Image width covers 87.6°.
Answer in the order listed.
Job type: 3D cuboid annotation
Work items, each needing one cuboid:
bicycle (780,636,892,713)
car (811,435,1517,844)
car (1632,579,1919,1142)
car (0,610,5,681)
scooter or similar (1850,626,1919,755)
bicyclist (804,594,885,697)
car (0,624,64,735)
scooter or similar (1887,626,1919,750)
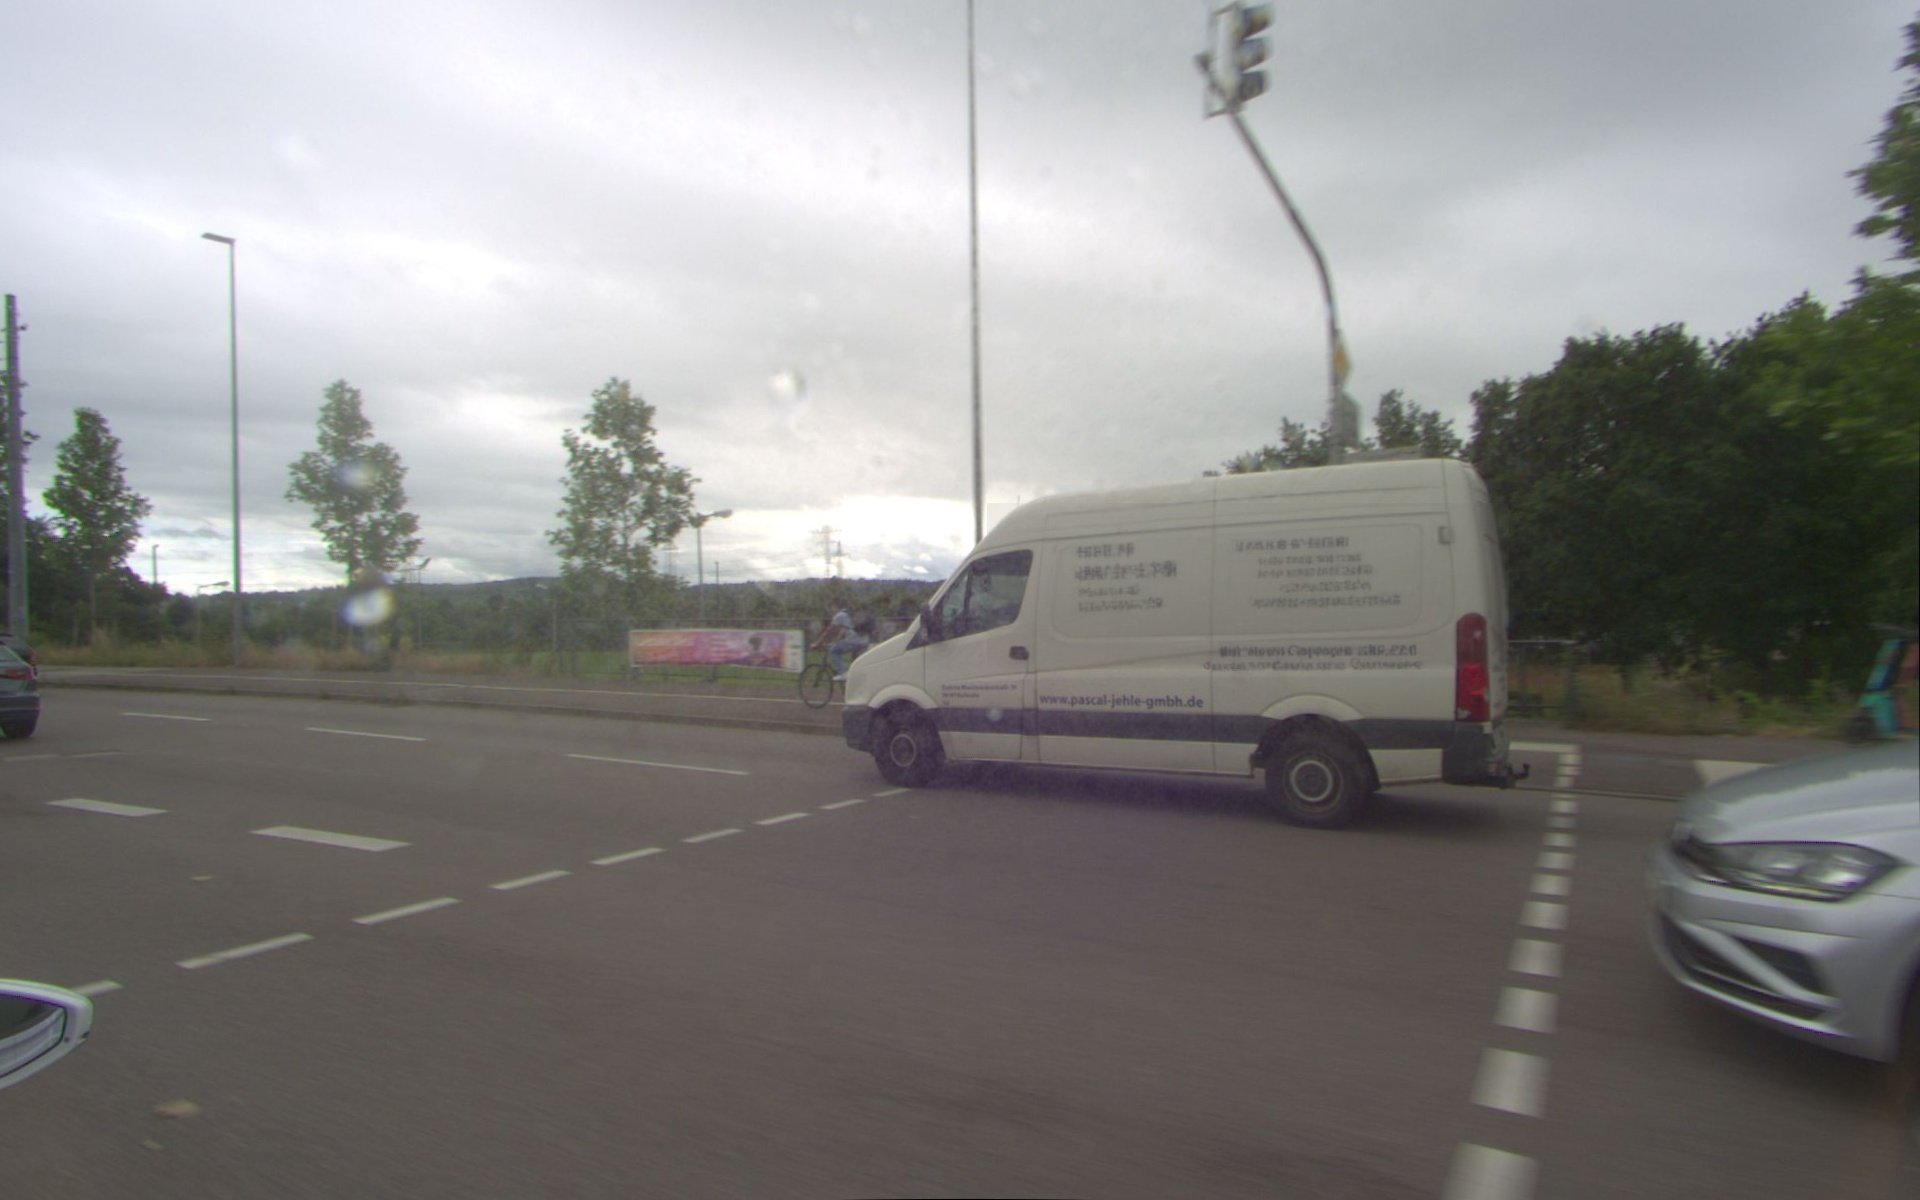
[{"bbox_3d":[-1.887,1.101,15.152,1.683,1.060,0.546,0,3,30],"label":"bicycle"},{"bbox_3d":[1.729,0.327,9.167,5.813,2.659,2.652,-1,-1,31],"label":"car"},{"bbox_3d":[4.477,0.725,2.827,4.138,1.572,1.853,-1,-1,30],"label":"car"},{"bbox_3d":[-22.711,1.015,21.897,4.259,1.497,1.732,-2,-2,33],"label":"car"},{"bbox_3d":[9.671,0.896,10.006,1.141,1.260,0.474,0,1,41],"label":"scooter or similar"},{"bbox_3d":[-1.729,0.656,15.008,0.953,1.473,0.689,0,3,30],"label":"bicyclist"},{"bbox_3d":[-14.170,1.034,13.446,4.010,1.420,1.738,-1,-1,25],"label":"car"},{"bbox_3d":[10.220,0.895,10.162,1.139,1.260,0.388,-1,1,35],"label":"scooter or similar"}]
